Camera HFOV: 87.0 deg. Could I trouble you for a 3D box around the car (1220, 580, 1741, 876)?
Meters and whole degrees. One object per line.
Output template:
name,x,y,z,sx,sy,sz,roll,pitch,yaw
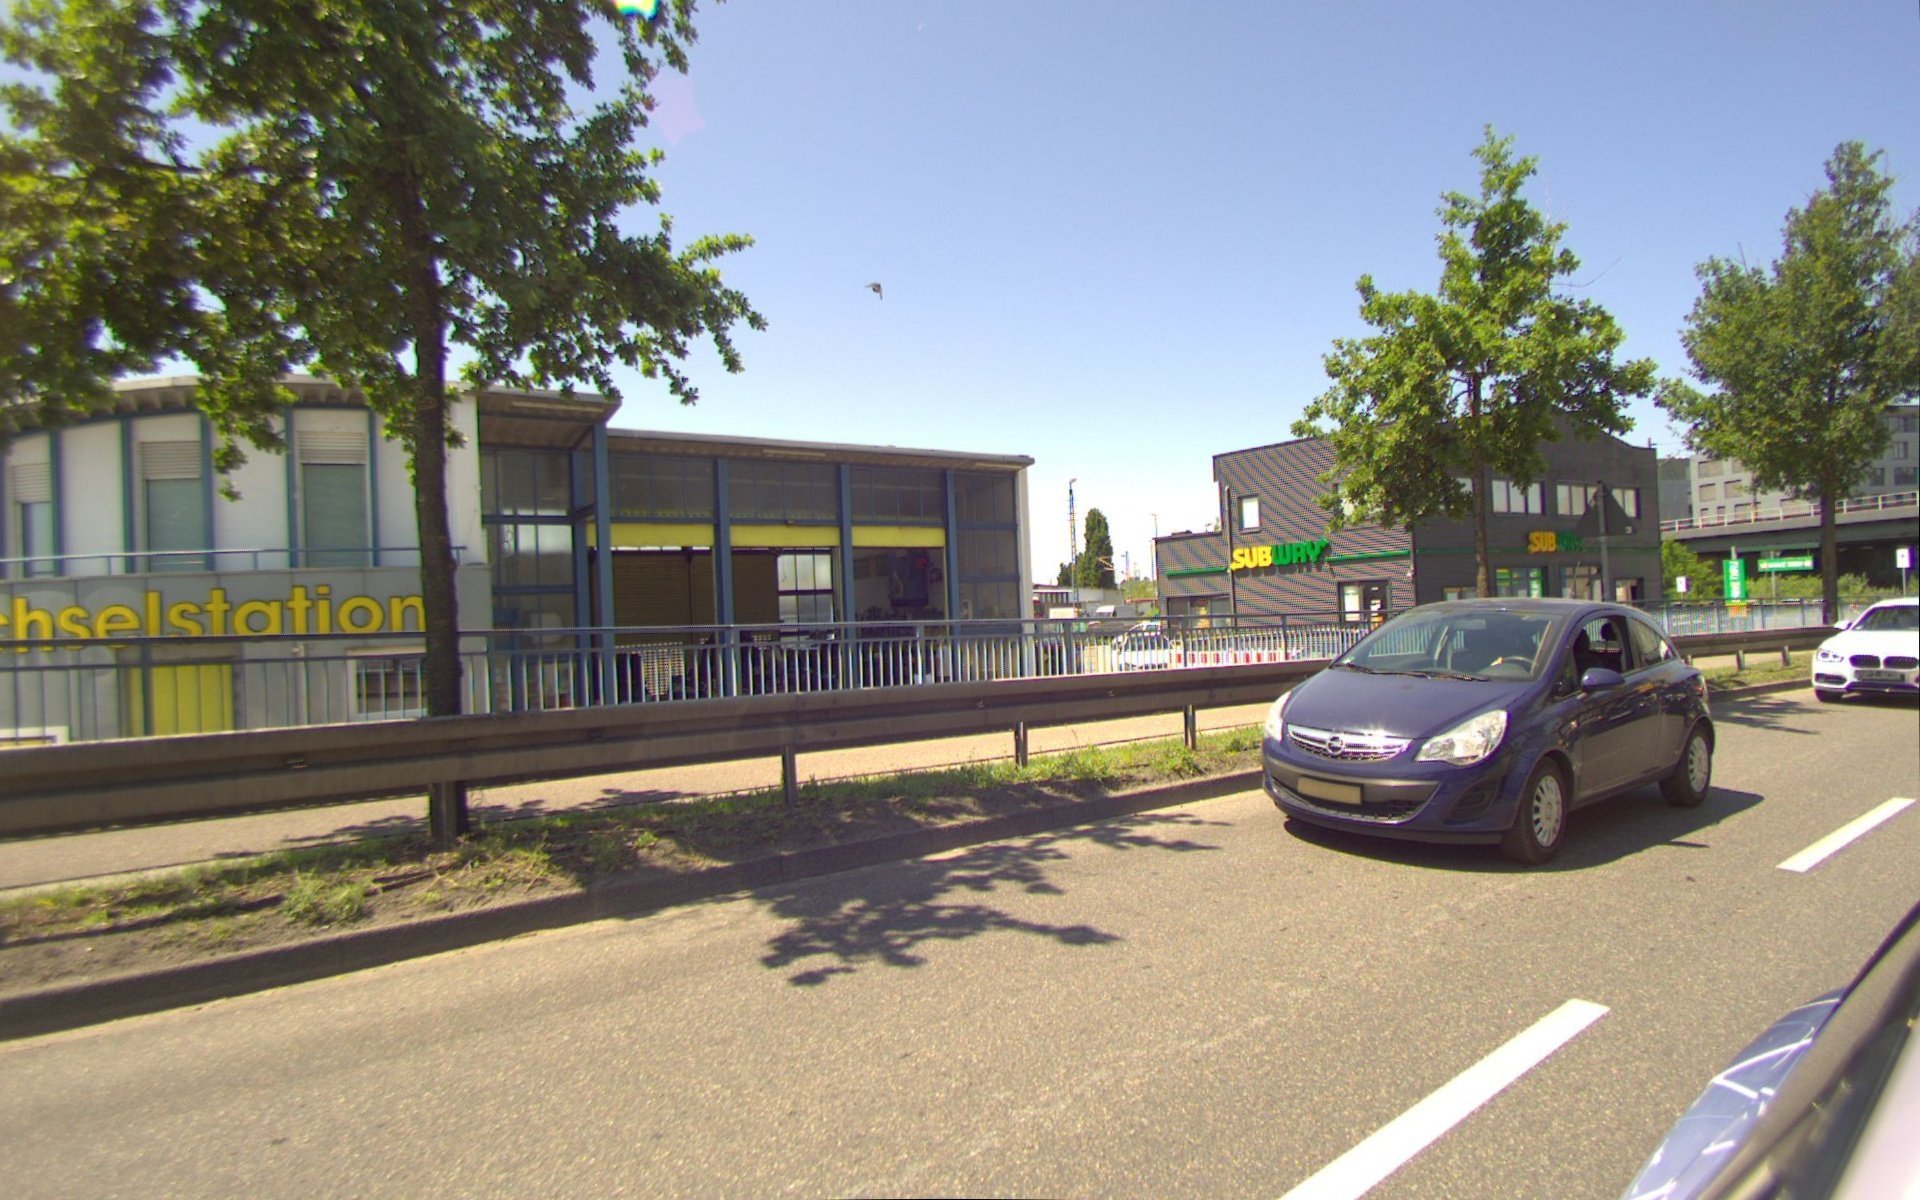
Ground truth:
car,3.649,0.625,6.851,3.819,1.462,1.650,-1,-1,-38

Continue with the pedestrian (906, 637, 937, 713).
pedestrian,-0.918,1.758,23.922,0.479,1.724,0.523,-2,-1,-34

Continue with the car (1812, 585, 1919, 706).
car,13.705,0.563,14.091,3.974,1.461,1.765,-2,2,-33

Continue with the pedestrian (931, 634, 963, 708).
pedestrian,-0.315,1.705,24.419,0.578,1.724,0.427,-2,-1,-35

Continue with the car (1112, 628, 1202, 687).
car,5.681,1.619,29.775,1.964,1.375,5.077,-2,0,5

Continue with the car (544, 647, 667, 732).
car,-8.515,2.054,24.120,1.621,1.705,3.675,-2,0,-39

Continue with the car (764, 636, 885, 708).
car,-3.756,1.896,27.651,1.621,1.705,3.676,-2,0,-38
